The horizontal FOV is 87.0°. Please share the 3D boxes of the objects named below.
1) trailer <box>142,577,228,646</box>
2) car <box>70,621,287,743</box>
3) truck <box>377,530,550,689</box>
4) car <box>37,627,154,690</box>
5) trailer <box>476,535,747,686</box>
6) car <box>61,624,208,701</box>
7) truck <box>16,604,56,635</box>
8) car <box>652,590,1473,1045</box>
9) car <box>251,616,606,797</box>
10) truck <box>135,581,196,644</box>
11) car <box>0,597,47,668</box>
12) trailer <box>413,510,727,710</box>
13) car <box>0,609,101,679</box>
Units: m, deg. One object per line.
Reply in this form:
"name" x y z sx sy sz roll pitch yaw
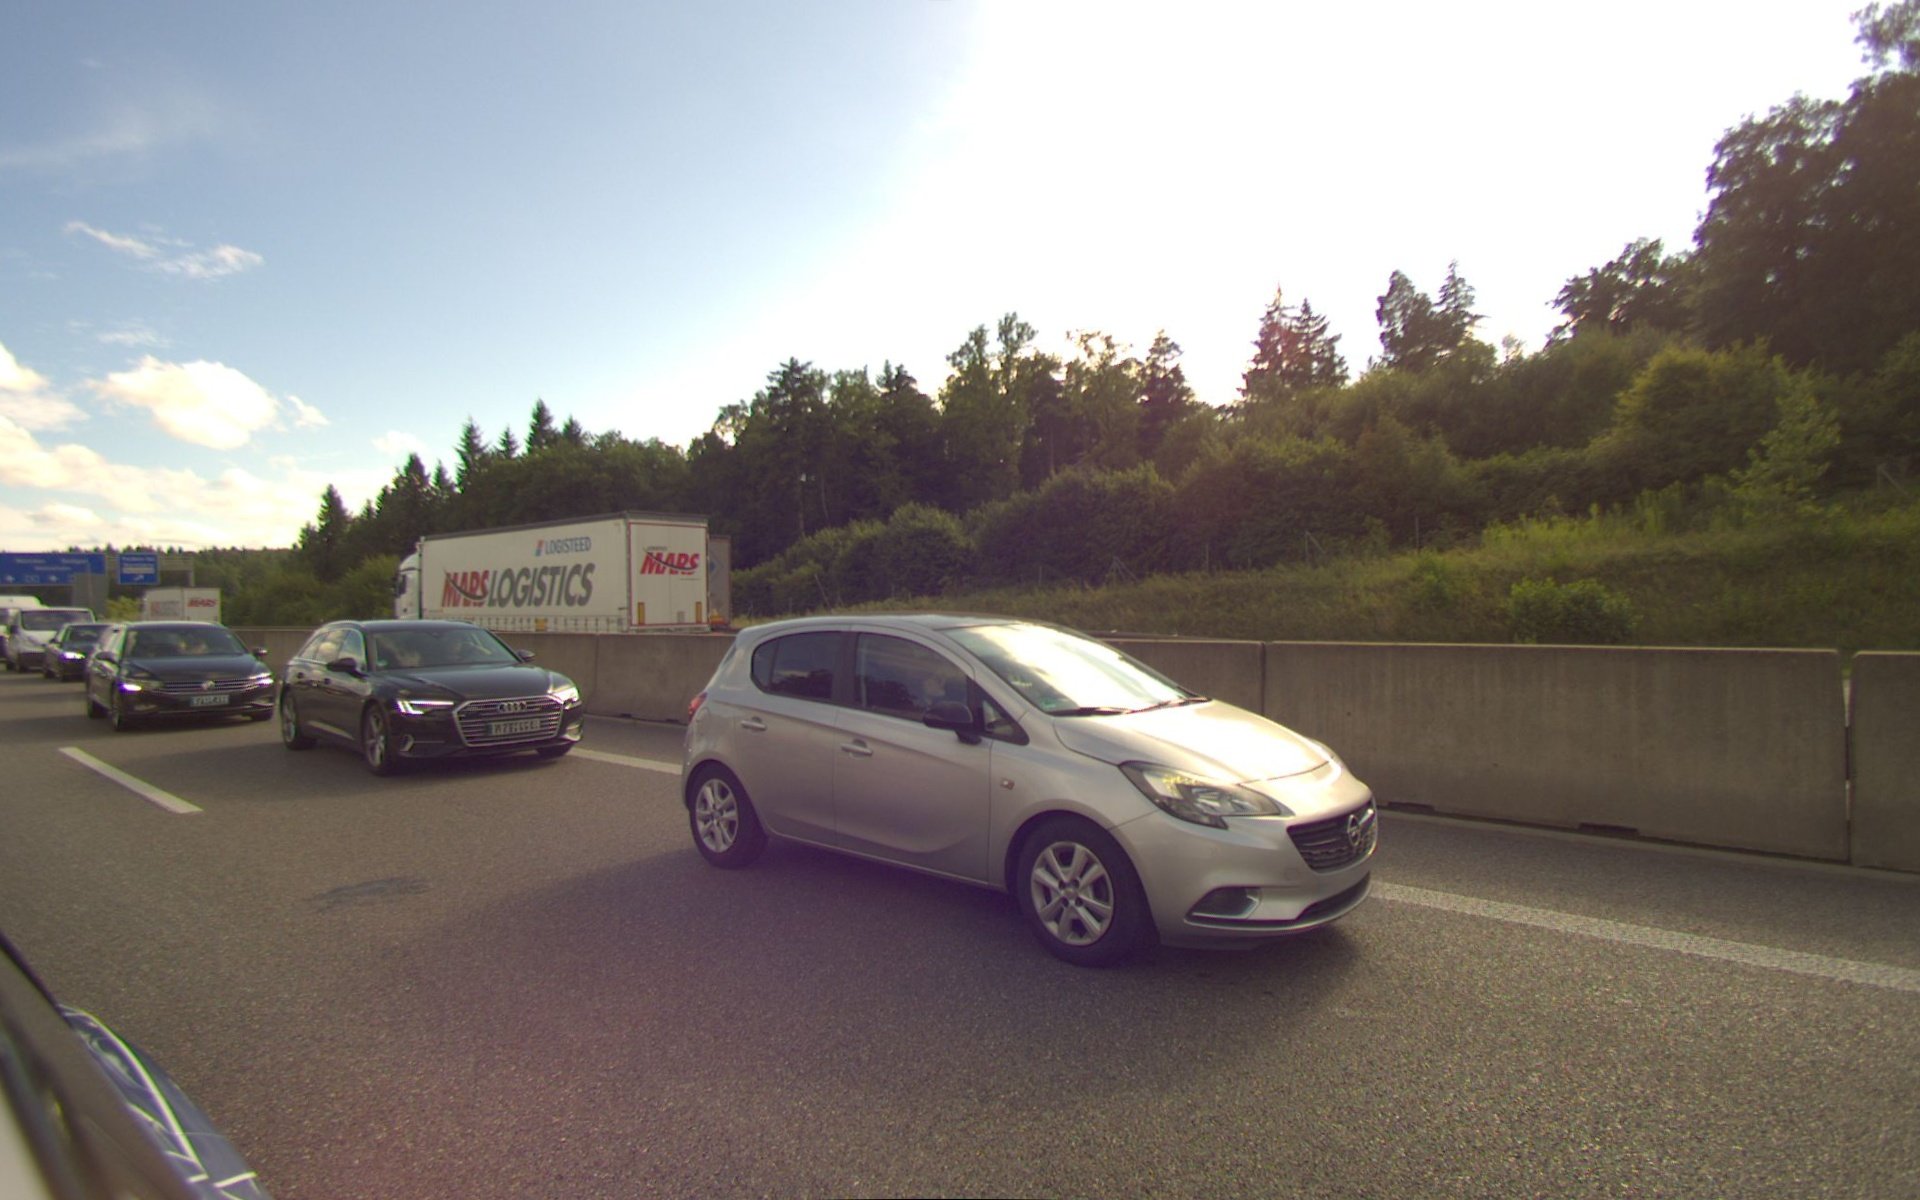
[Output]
"trailer" -64.435 0.978 83.942 13.829 5.320 3.010 -1 0 42
"car" -11.571 1.081 14.860 4.570 1.489 1.890 -2 -1 44
"truck" -17.844 0.334 36.160 7.138 5.139 3.056 -1 0 41
"car" -22.256 1.440 26.010 3.993 1.442 1.785 -2 -1 42
"trailer" -13.813 0.414 38.638 14.648 4.866 2.896 -1 0 41
"car" -17.904 1.281 21.869 4.665 1.442 1.785 -2 -1 42
"truck" -138.599 2.910 151.784 13.904 4.387 2.902 -1 0 41
"car" 0.250 0.761 5.305 4.039 1.477 1.728 -2 -2 42
"car" -5.874 0.953 10.860 4.851 1.483 1.862 -2 -1 43
"truck" -69.384 1.088 88.313 6.880 5.292 3.007 -1 0 41
"car" -37.318 1.261 39.392 5.860 2.592 2.027 -2 -2 42
"trailer" -12.730 0.312 31.672 13.828 5.112 3.056 -1 0 41
"car" -28.289 1.308 31.352 4.847 1.980 1.922 -2 -1 42
